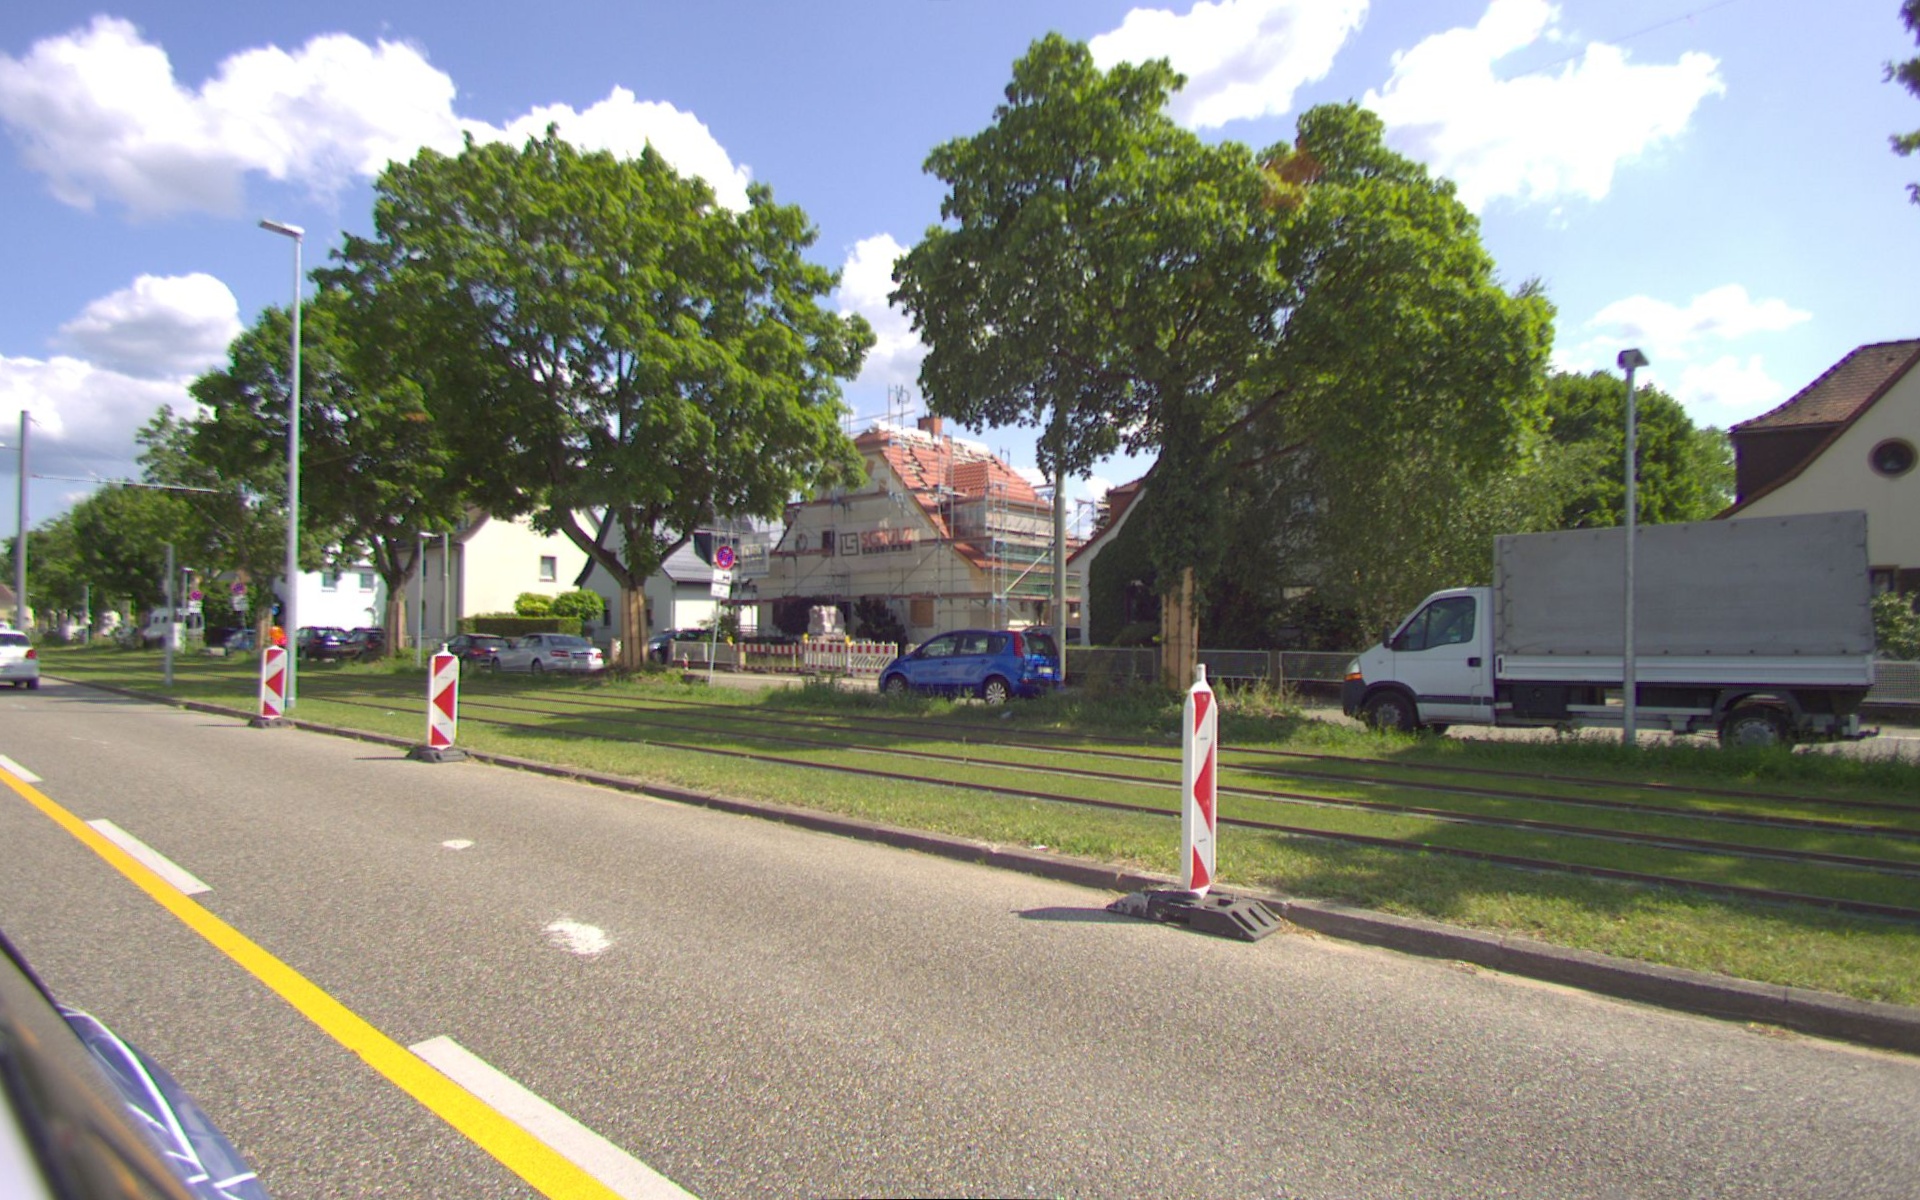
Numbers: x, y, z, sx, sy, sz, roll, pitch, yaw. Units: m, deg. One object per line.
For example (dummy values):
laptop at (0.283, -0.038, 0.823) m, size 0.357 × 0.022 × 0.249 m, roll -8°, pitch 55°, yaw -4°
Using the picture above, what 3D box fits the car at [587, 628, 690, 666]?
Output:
car at (-14.081, 2.049, 44.508) m, size 1.756 × 1.623 × 3.995 m, roll -2°, pitch -3°, yaw 41°

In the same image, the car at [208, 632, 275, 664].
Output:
car at (-37.643, 2.471, 52.980) m, size 4.603 × 1.623 × 1.733 m, roll -2°, pitch -3°, yaw 40°

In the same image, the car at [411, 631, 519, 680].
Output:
car at (-17.613, 1.917, 35.932) m, size 4.603 × 1.623 × 1.733 m, roll -2°, pitch -3°, yaw 40°

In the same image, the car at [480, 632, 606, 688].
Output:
car at (-13.171, 1.833, 31.861) m, size 4.603 × 1.623 × 1.733 m, roll -2°, pitch -3°, yaw 40°

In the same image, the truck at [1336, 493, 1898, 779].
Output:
truck at (8.276, 0.467, 13.357) m, size 5.871 × 3.010 × 1.982 m, roll -2°, pitch -3°, yaw 41°

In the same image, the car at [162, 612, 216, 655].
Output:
car at (-48.845, 2.110, 64.108) m, size 4.603 × 2.636 × 1.733 m, roll -2°, pitch -3°, yaw 40°

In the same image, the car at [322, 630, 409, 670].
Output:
car at (-25.182, 2.076, 42.828) m, size 4.603 × 1.623 × 1.733 m, roll -2°, pitch -3°, yaw 40°

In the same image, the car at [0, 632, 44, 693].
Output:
car at (-24.006, 1.507, 24.873) m, size 4.260 × 1.424 × 1.697 m, roll -2°, pitch -3°, yaw 41°

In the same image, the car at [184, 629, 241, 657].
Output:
car at (-44.644, 2.556, 60.404) m, size 4.603 × 1.623 × 1.733 m, roll -2°, pitch -3°, yaw 40°

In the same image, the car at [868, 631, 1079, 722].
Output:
car at (0.197, 1.445, 20.167) m, size 4.047 × 1.623 × 1.733 m, roll -2°, pitch -3°, yaw 40°

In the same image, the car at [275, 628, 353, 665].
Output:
car at (-29.601, 2.101, 46.331) m, size 4.603 × 1.623 × 1.733 m, roll -2°, pitch -3°, yaw 40°

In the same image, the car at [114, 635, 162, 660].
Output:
car at (-57.022, 3.271, 70.150) m, size 4.603 × 1.623 × 1.733 m, roll -2°, pitch -3°, yaw 40°
